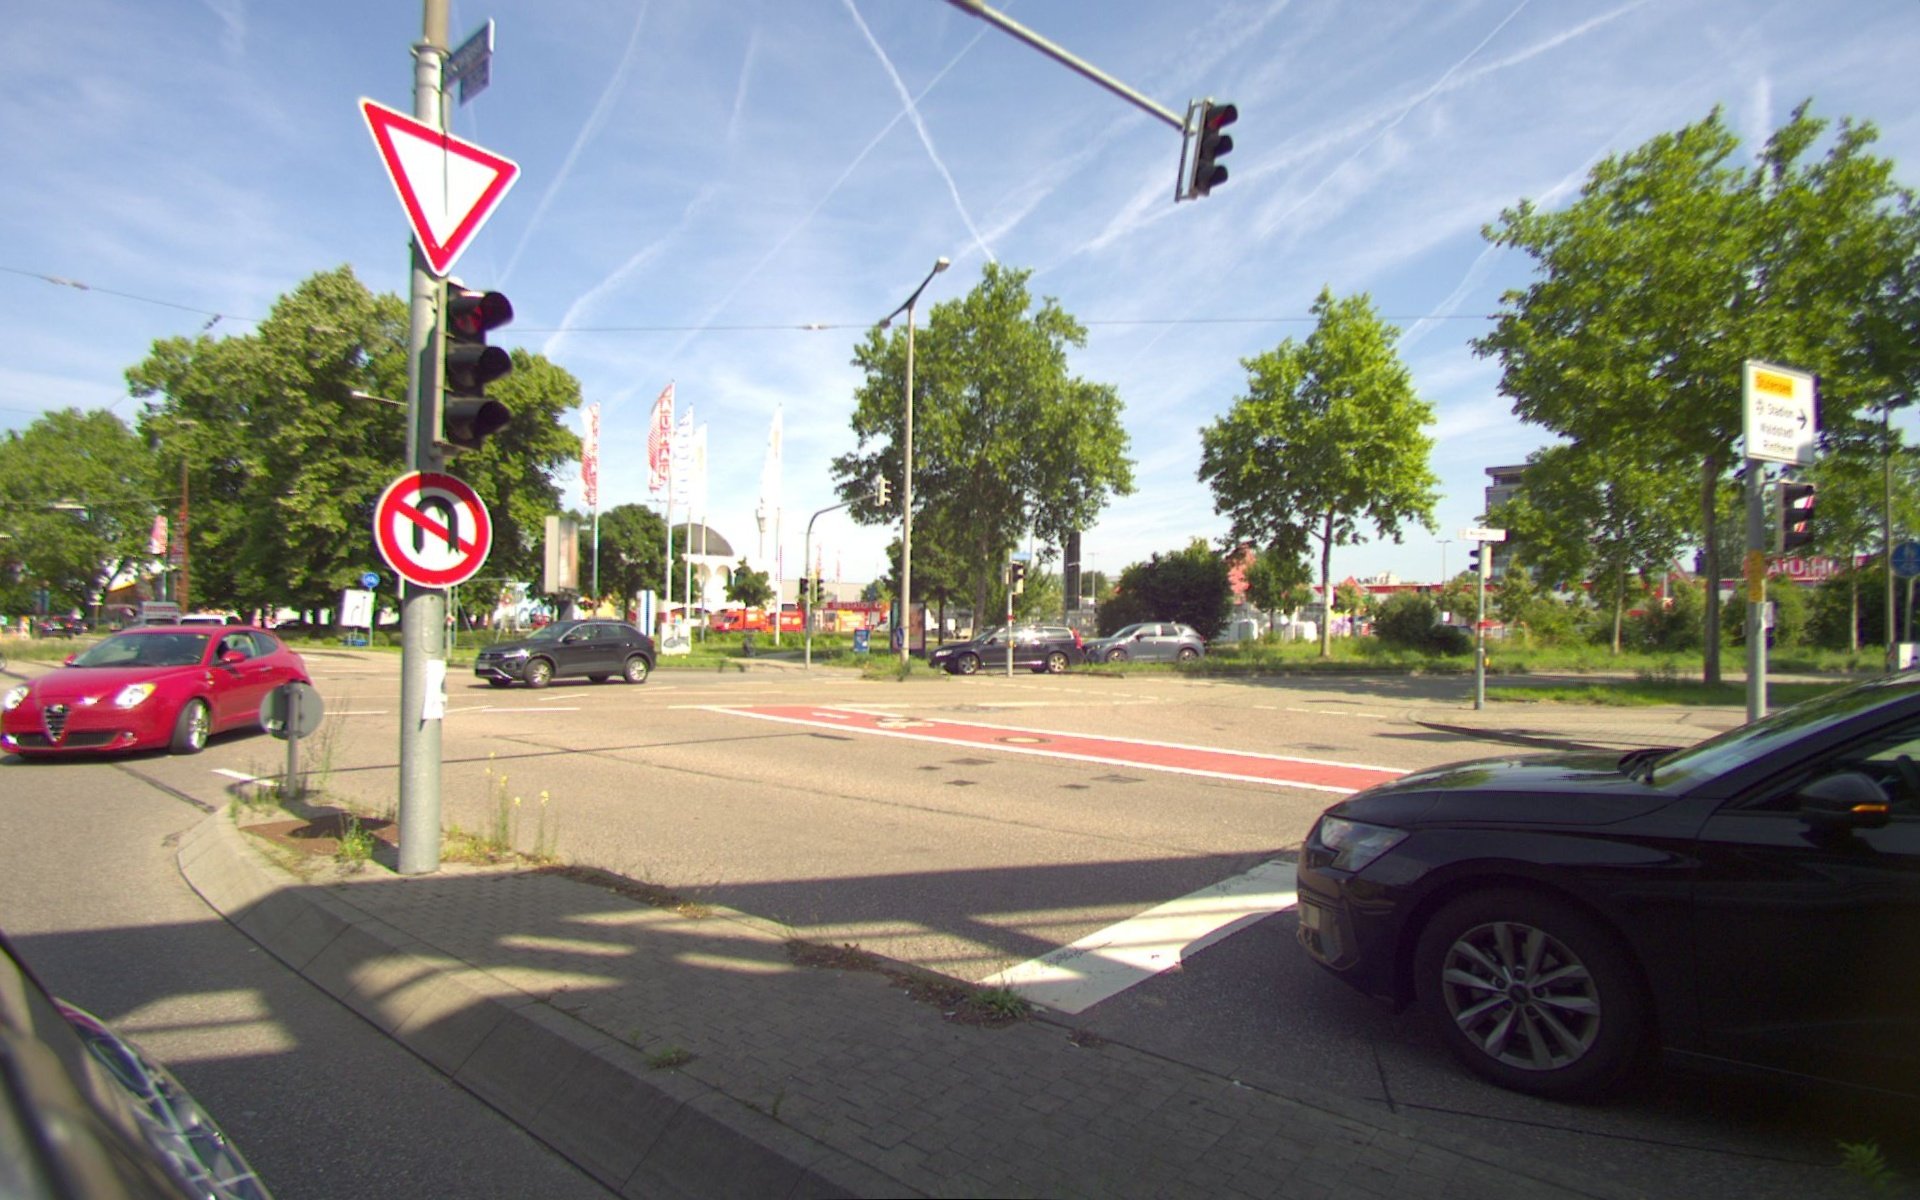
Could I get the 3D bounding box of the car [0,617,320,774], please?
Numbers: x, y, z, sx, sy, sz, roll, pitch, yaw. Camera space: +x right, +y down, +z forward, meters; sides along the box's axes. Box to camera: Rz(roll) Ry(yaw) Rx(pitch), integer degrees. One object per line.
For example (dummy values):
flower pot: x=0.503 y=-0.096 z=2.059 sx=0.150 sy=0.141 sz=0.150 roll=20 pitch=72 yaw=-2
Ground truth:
car: x=-9.470 y=0.978 z=12.026 sx=1.770 sy=1.465 sz=3.987 roll=0 pitch=0 yaw=-10

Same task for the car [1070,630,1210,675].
car: x=6.164 y=1.800 z=34.719 sx=4.384 sy=1.426 sz=1.708 roll=1 pitch=-2 yaw=-15

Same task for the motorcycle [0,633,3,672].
motorcycle: x=-27.236 y=1.450 z=27.279 sx=0.772 sy=1.091 sz=1.971 roll=-1 pitch=-1 yaw=19

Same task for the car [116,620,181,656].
car: x=-41.500 y=1.918 z=51.730 sx=3.822 sy=1.734 sz=1.903 roll=-1 pitch=0 yaw=40

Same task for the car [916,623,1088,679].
car: x=1.241 y=1.525 z=30.401 sx=4.843 sy=1.585 sz=1.708 roll=1 pitch=-2 yaw=-14

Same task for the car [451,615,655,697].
car: x=-9.399 y=1.227 z=23.634 sx=1.823 sy=1.654 sz=4.060 roll=-1 pitch=0 yaw=38

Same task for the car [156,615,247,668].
car: x=-27.360 y=1.446 z=36.611 sx=1.793 sy=1.734 sz=3.649 roll=-1 pitch=0 yaw=-23

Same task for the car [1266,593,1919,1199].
car: x=3.195 y=0.737 z=2.860 sx=4.117 sy=1.458 sz=1.762 roll=0 pitch=-2 yaw=40

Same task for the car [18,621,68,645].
car: x=-62.870 y=2.239 z=69.390 sx=3.820 sy=1.527 sz=1.904 roll=-1 pitch=0 yaw=38
